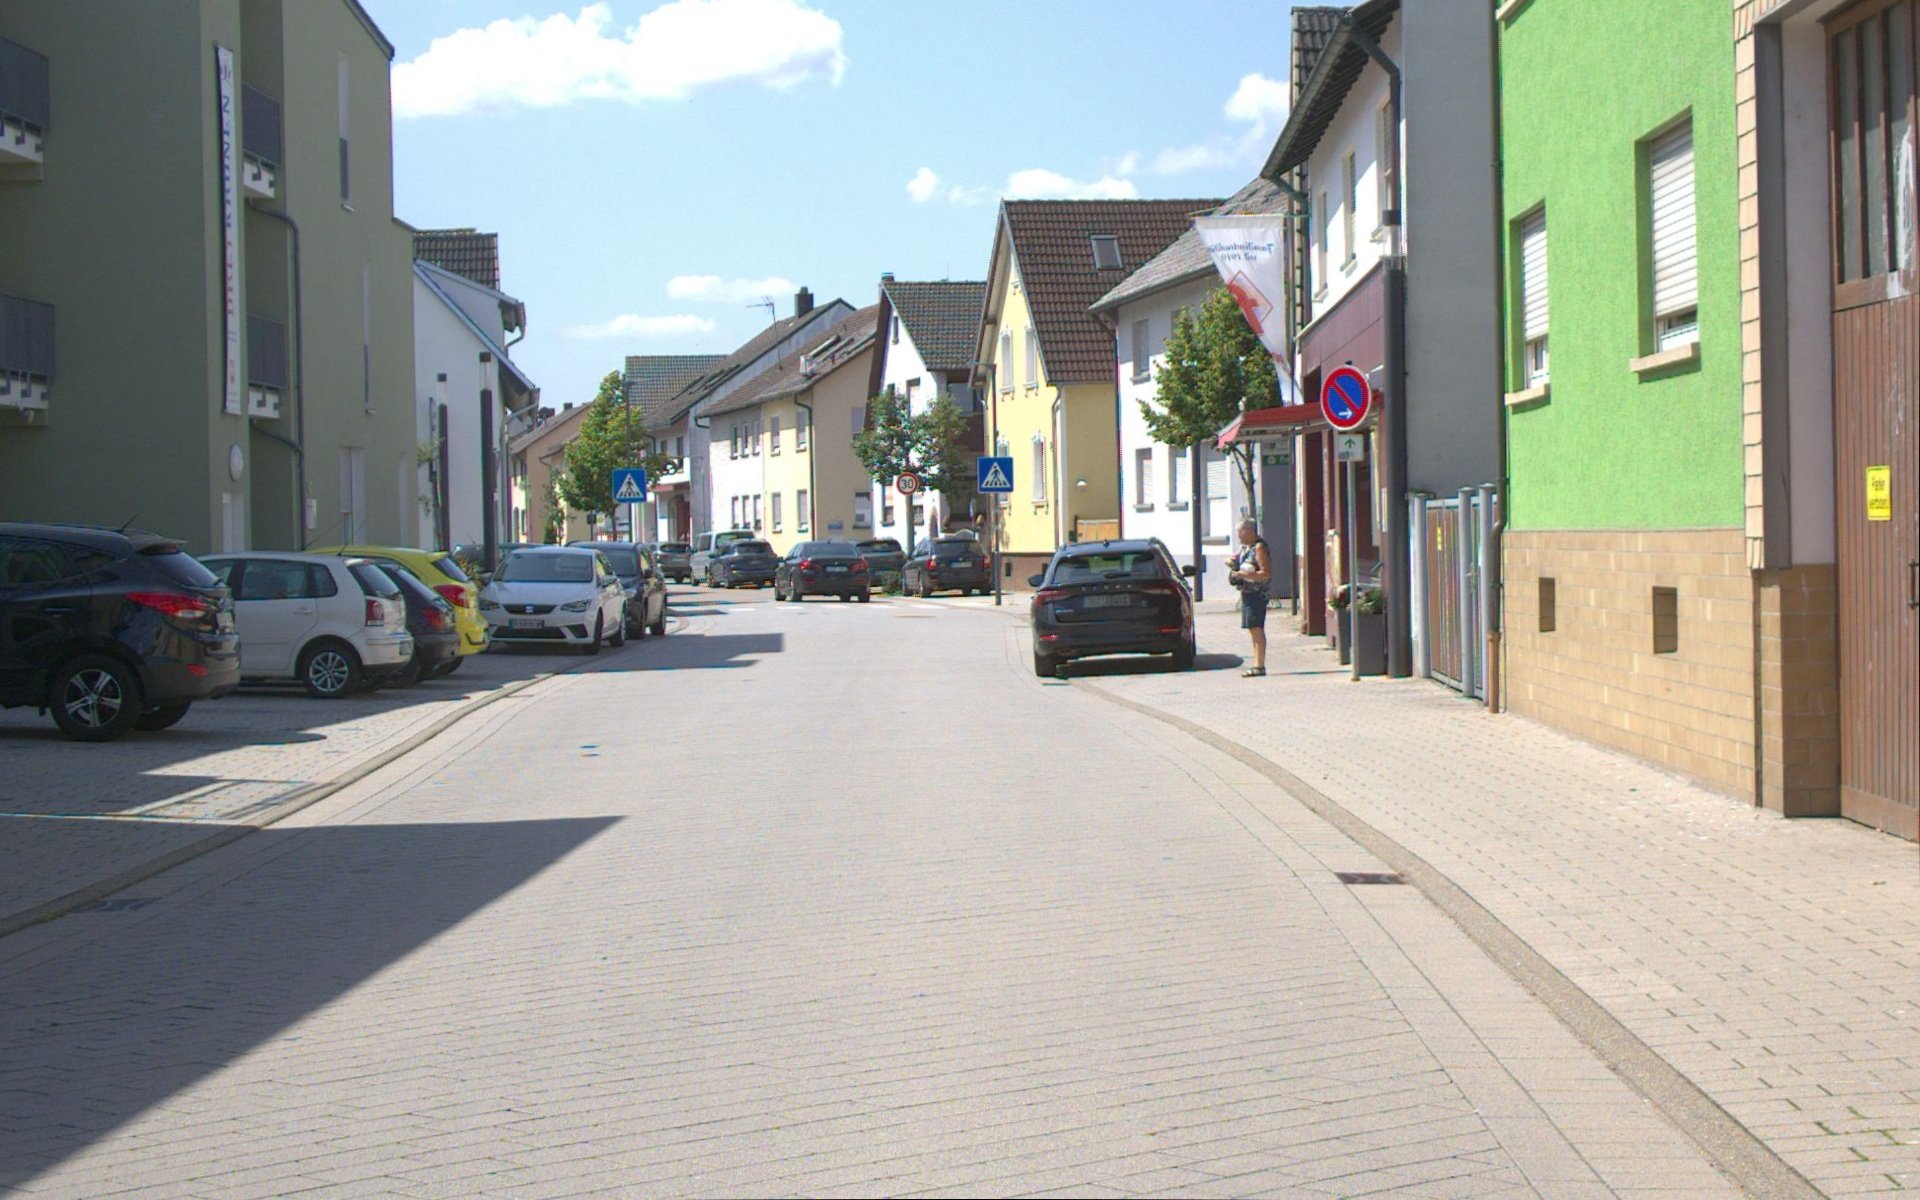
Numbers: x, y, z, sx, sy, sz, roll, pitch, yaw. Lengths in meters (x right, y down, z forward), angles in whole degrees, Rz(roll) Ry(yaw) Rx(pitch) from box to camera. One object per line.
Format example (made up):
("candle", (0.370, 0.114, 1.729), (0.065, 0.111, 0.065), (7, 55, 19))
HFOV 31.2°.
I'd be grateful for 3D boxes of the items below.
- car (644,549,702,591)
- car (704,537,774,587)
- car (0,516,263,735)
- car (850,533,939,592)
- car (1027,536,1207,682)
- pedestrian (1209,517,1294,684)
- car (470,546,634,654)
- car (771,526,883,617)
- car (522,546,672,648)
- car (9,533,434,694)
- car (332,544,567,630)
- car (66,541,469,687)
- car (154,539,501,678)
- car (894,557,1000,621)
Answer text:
("car", (-10.957, -1.149, 130.923), (1.754, 1.487, 4.001), (-2, 1, -11))
("car", (-7.517, -1.305, 116.769), (1.877, 1.586, 4.001), (-2, 1, -11))
("car", (-7.834, 0.159, 27.271), (4.219, 1.652, 1.784), (1, 1, 1))
("car", (-1.843, -1.071, 95.936), (1.846, 1.557, 3.694), (-2, 1, -11))
("car", (1.844, 0.057, 39.231), (1.858, 1.454, 4.585), (-3, 1, 4))
("pedestrian", (2.961, -0.004, 34.986), (0.730, 1.634, 0.749), (-4, 0, 4))
("car", (-5.710, -0.028, 48.490), (1.758, 1.406, 3.878), (1, 1, 1))
("car", (-3.212, -0.705, 82.263), (1.993, 2.050, 4.375), (-2, 1, -11))
("car", (-5.658, -0.076, 54.010), (1.813, 1.485, 4.277), (0, 1, 1))
("car", (-7.495, 0.115, 35.126), (3.901, 1.497, 1.751), (1, 1, 3))
("car", (-9.653, -0.259, 65.158), (4.106, 1.433, 1.765), (-2, 1, 2))
("car", (-7.471, 0.132, 37.305), (3.987, 1.436, 1.691), (2, 1, 1))
("car", (-7.348, 0.080, 40.170), (3.692, 1.520, 1.672), (1, 1, 2))
("car", (-0.349, -0.289, 86.272), (1.828, 1.466, 4.277), (-4, 1, -11))
